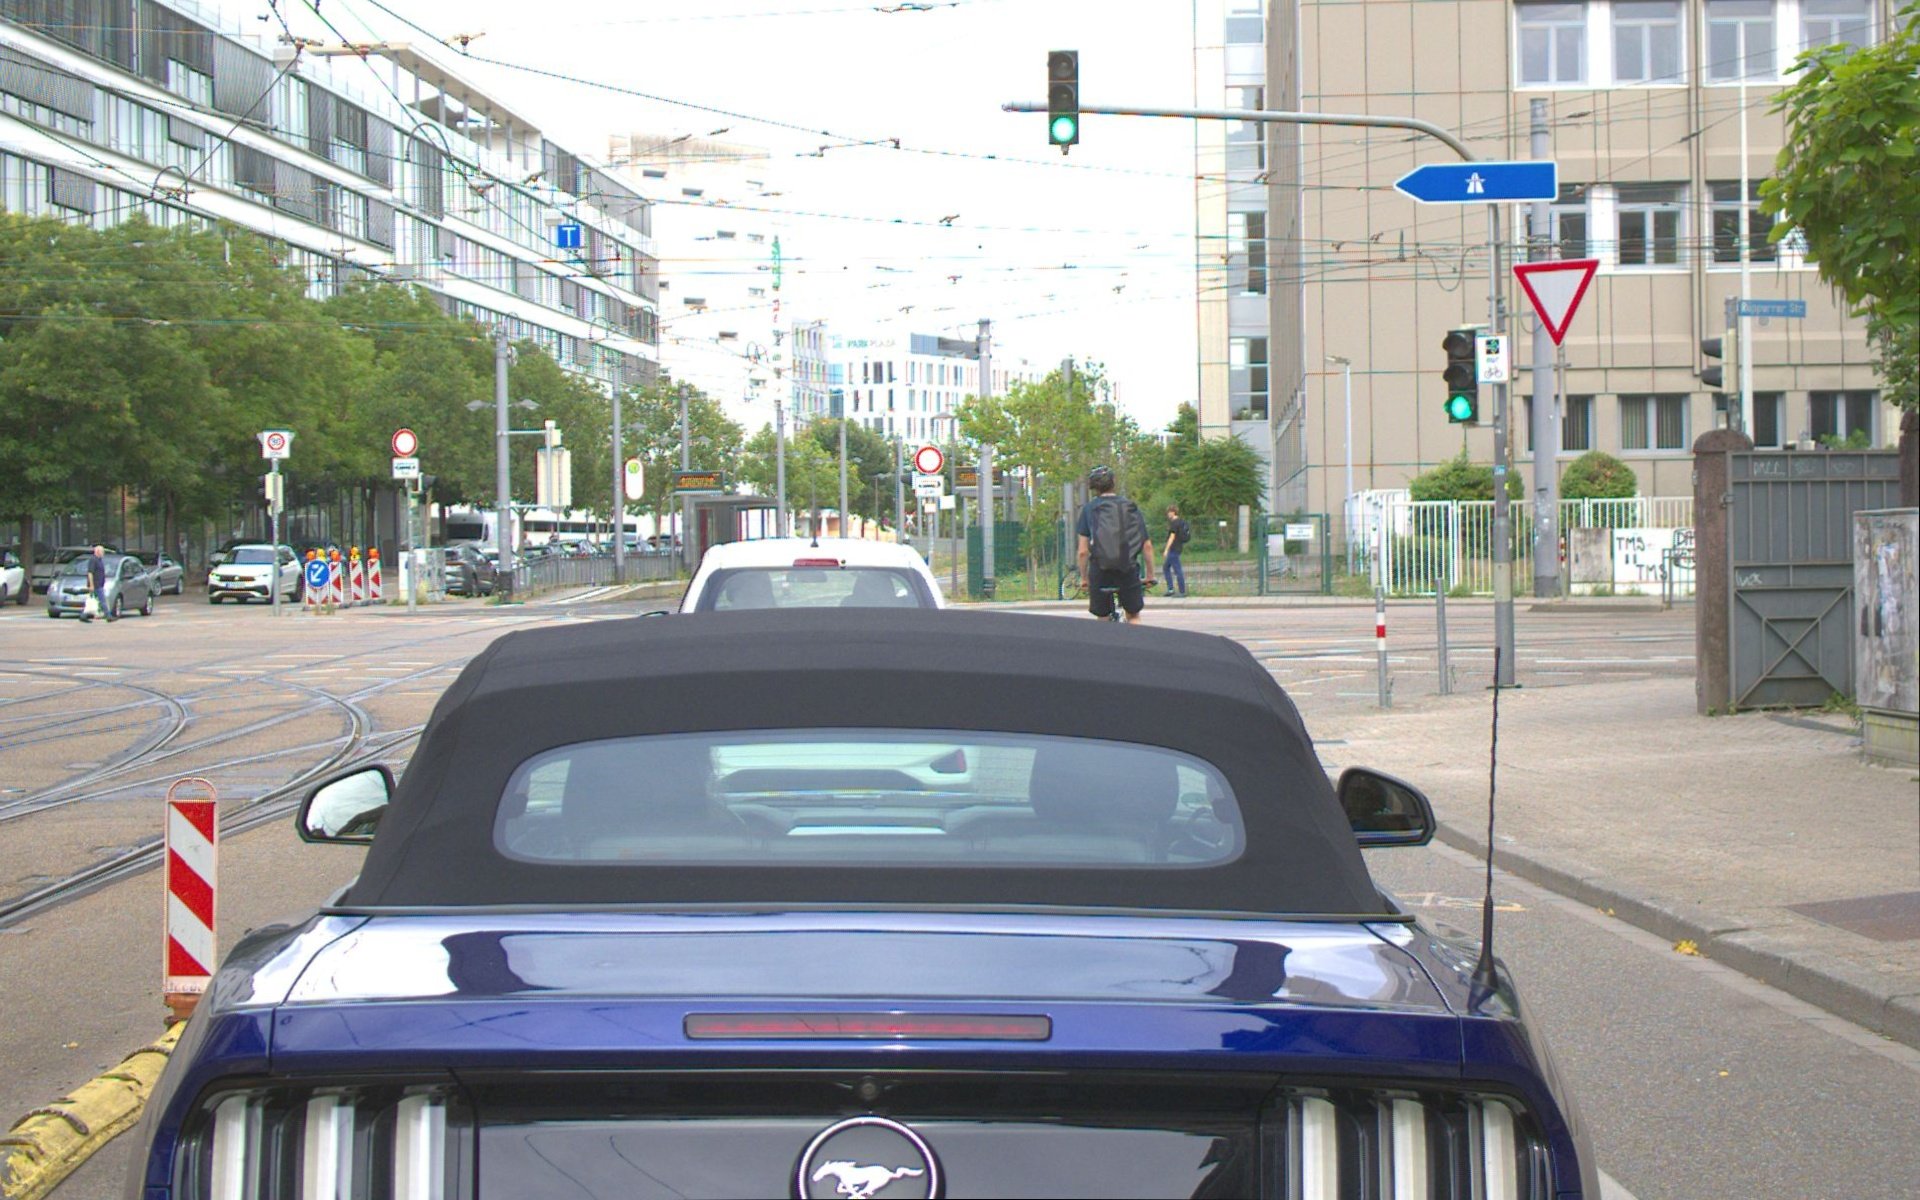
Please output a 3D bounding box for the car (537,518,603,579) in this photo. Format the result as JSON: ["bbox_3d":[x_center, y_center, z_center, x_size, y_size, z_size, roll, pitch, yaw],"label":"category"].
[{"bbox_3d":[-13.138,-1.752,115.954,1.785,1.980,4.121,-1,1,-1],"label":"car"}]

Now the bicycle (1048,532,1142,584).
[{"bbox_3d":[2.836,-0.881,72.467,0.632,0.977,2.157,-2,-1,-42],"label":"bicycle"}]

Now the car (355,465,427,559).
[{"bbox_3d":[-22.383,-3.465,135.341,1.986,3.624,4.512,1,1,1],"label":"car"}]

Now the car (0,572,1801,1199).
[{"bbox_3d":[-0.142,0.695,5.485,1.876,1.399,4.282,1,1,0],"label":"car"}]

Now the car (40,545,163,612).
[{"bbox_3d":[-20.697,-0.542,82.991,1.668,1.501,4.234,1,1,3],"label":"car"}]

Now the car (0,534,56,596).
[{"bbox_3d":[-25.501,-0.938,90.909,1.830,1.551,4.216,1,1,3],"label":"car"}]

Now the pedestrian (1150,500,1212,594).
[{"bbox_3d":[4.531,-1.090,70.530,1.086,1.891,0.901,-1,1,15],"label":"pedestrian"}]

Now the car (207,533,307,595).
[{"bbox_3d":[-19.799,-1.022,96.934,1.715,1.654,4.133,1,1,3],"label":"car"}]

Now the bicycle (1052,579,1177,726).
[{"bbox_3d":[1.219,0.397,27.520,0.800,1.082,2.132,-1,1,-2],"label":"bicycle"}]

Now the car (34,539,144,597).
[{"bbox_3d":[-24.847,-0.938,98.161,1.830,1.551,4.216,1,1,3],"label":"car"}]

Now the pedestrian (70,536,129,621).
[{"bbox_3d":[-19.202,-0.485,76.732,0.989,1.849,0.901,-1,1,7],"label":"pedestrian"}]

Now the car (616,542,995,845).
[{"bbox_3d":[-0.924,0.419,18.924,1.835,1.434,4.188,-1,1,-5],"label":"car"}]

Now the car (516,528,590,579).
[{"bbox_3d":[-13.095,-1.513,110.789,1.868,1.600,4.213,-1,1,-1],"label":"car"}]

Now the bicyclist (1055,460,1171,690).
[{"bbox_3d":[1.207,-0.208,27.372,0.796,1.779,1.233,-1,1,-2],"label":"bicyclist"}]

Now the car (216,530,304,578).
[{"bbox_3d":[-23.673,-1.567,116.351,1.986,1.551,4.512,1,1,1],"label":"car"}]

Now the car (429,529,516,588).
[{"bbox_3d":[-13.774,-1.194,97.256,1.879,1.623,4.087,-1,1,-1],"label":"car"}]
